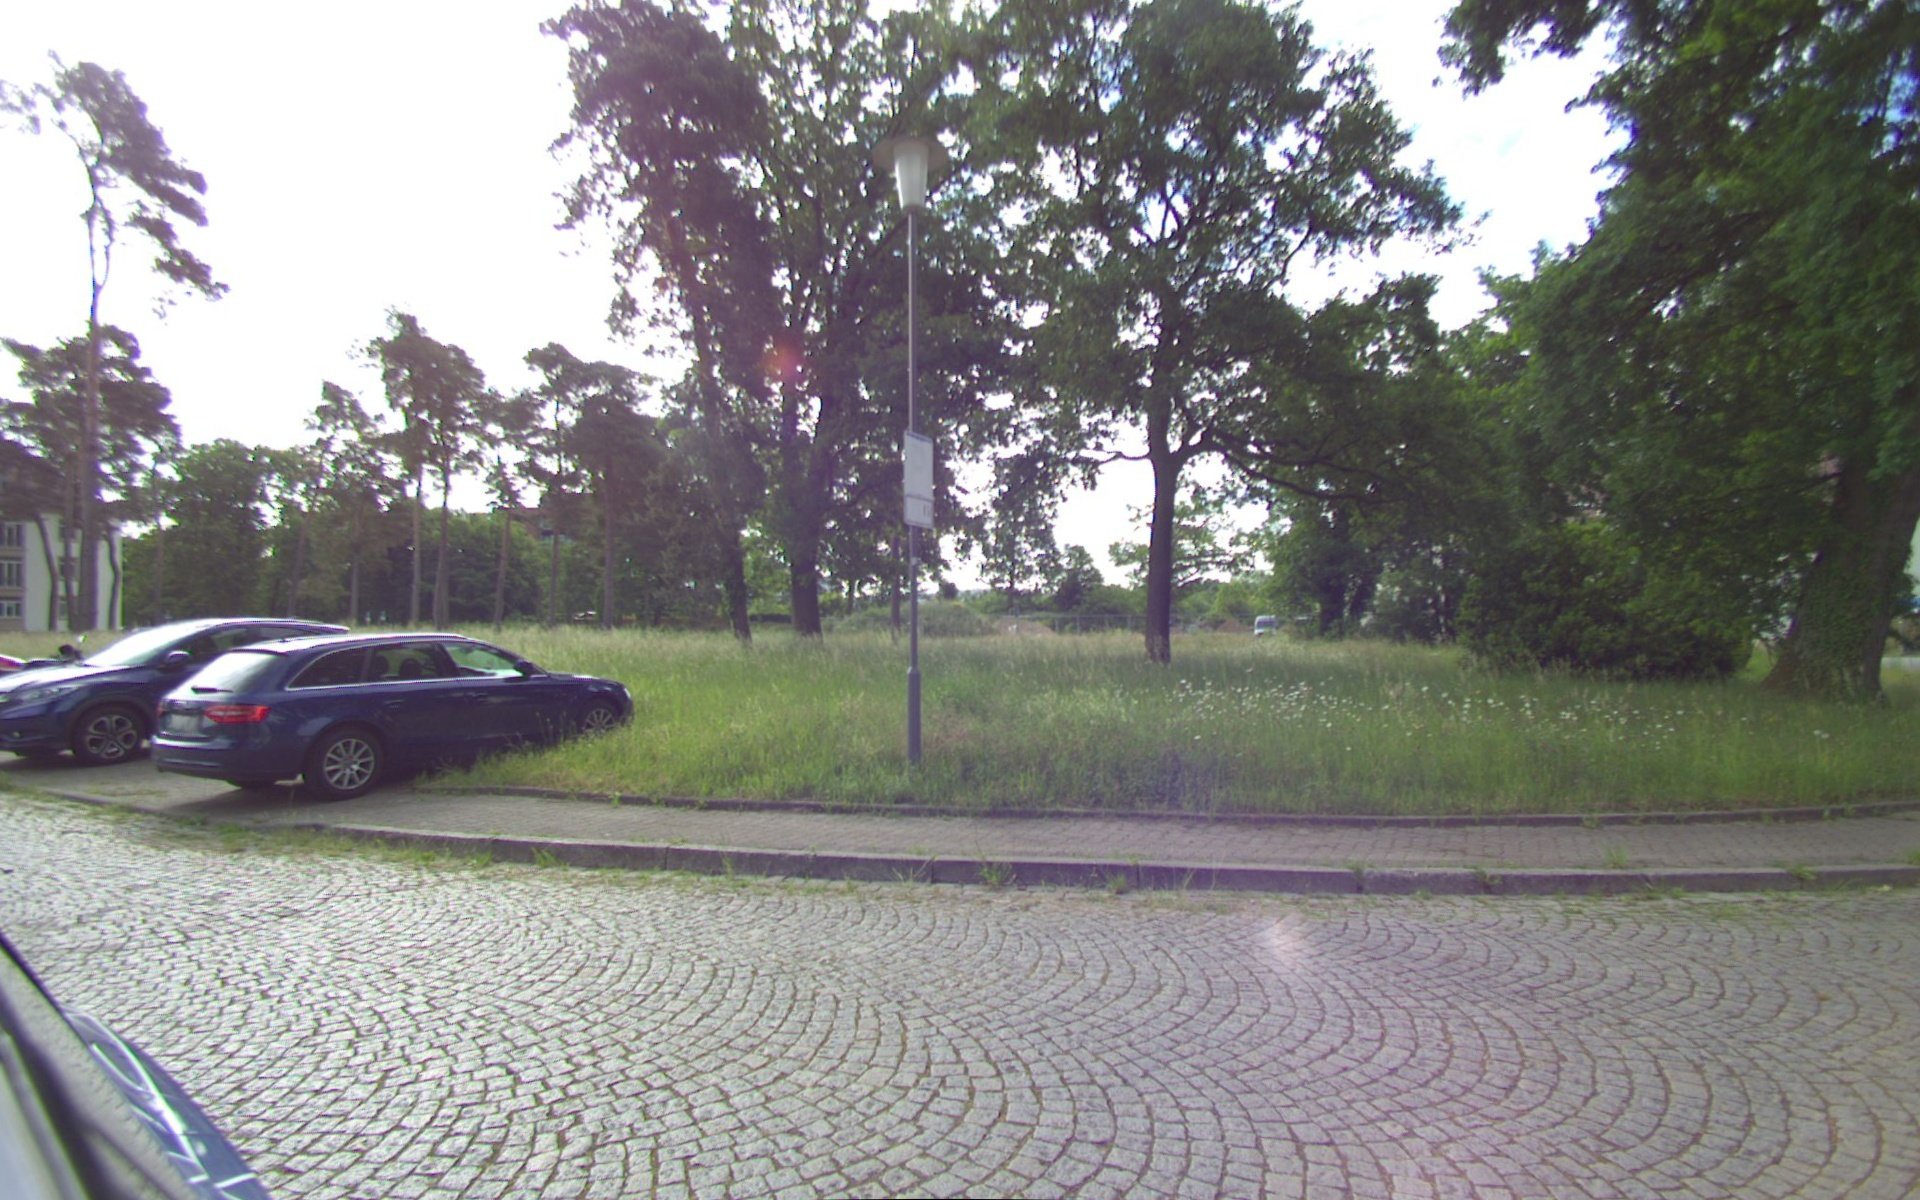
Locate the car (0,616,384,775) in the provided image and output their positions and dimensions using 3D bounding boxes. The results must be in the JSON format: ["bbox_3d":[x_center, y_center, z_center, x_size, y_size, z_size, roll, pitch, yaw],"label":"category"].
[{"bbox_3d":[-9.664,1.010,12.545,1.780,1.585,4.115,0,-1,26],"label":"car"}]

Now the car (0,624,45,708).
[{"bbox_3d":[-18.612,1.212,17.478,1.663,1.490,3.862,-1,-1,26],"label":"car"}]

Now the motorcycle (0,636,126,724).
[{"bbox_3d":[-14.603,1.238,15.814,0.740,1.298,2.341,-1,-1,27],"label":"motorcycle"}]

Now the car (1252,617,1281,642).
[{"bbox_3d":[28.408,2.714,93.841,2.027,2.028,4.195,0,2,24],"label":"car"}]

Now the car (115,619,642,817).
[{"bbox_3d":[-5.514,0.976,10.255,1.676,1.491,4.400,-1,-1,30],"label":"car"}]
